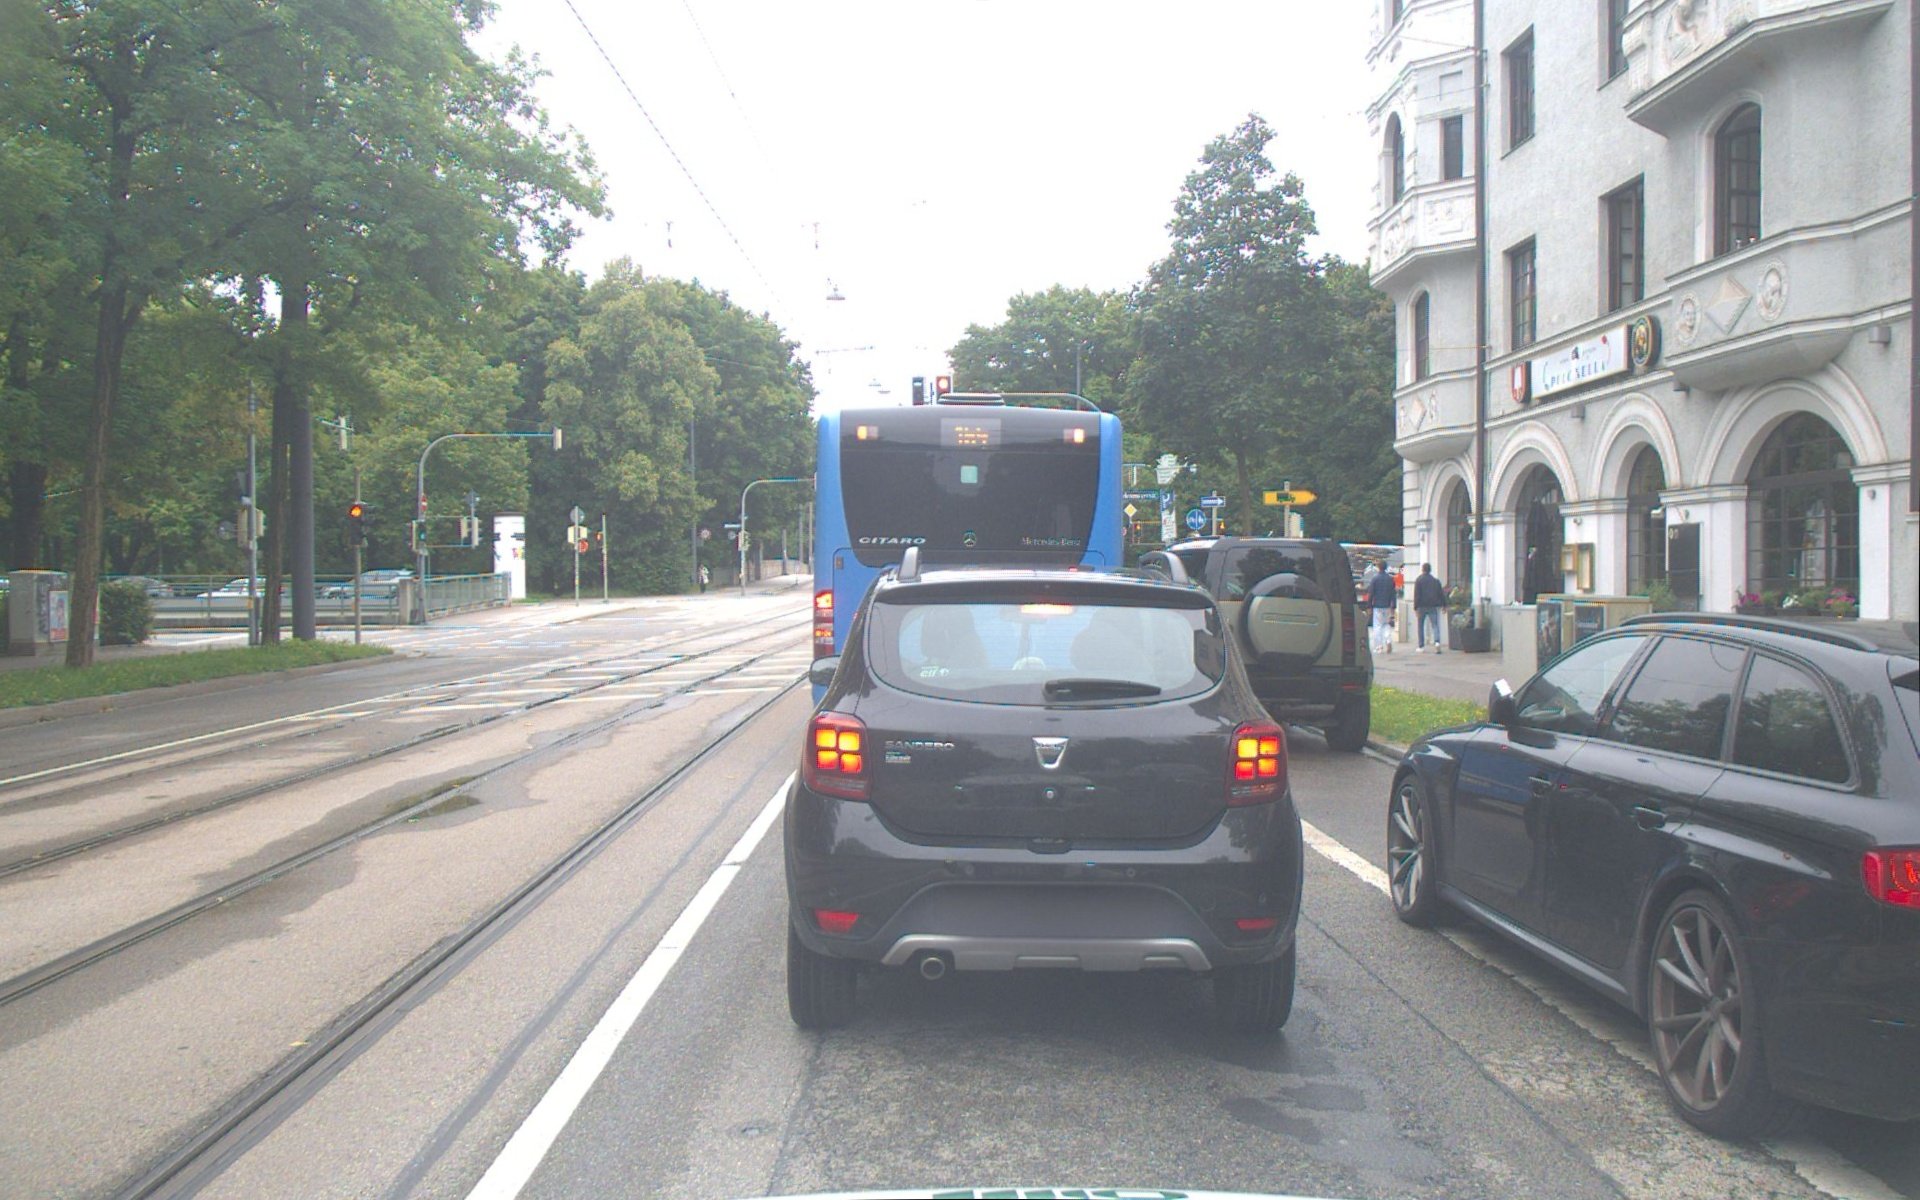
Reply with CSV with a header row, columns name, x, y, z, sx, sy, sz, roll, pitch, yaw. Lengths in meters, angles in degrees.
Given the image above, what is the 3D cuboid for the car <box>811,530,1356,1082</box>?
name,x,y,z,sx,sy,sz,roll,pitch,yaw
car,0.325,0.597,6.605,1.568,1.584,3.524,1,0,-1

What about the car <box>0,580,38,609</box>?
name,x,y,z,sx,sy,sz,roll,pitch,yaw
car,-41.989,-0.253,71.361,3.656,1.206,1.249,1,0,-6

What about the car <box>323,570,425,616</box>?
name,x,y,z,sx,sy,sz,roll,pitch,yaw
car,-25.743,-0.312,72.774,3.946,1.920,1.488,1,0,-8

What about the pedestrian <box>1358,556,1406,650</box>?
name,x,y,z,sx,sy,sz,roll,pitch,yaw
pedestrian,8.498,0.061,33.314,0.690,1.848,0.869,1,0,-1

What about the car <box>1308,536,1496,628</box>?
name,x,y,z,sx,sy,sz,roll,pitch,yaw
car,13.726,-0.547,51.554,5.191,2.658,2.229,1,0,-4

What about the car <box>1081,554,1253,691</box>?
name,x,y,z,sx,sy,sz,roll,pitch,yaw
car,2.669,0.256,22.216,1.679,1.619,4.326,1,0,-1

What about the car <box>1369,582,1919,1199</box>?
name,x,y,z,sx,sy,sz,roll,pitch,yaw
car,2.927,0.692,5.887,1.681,1.451,4.601,1,0,-1

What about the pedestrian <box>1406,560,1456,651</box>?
name,x,y,z,sx,sy,sz,roll,pitch,yaw
pedestrian,9.332,0.102,32.792,0.690,1.762,0.843,1,0,-1

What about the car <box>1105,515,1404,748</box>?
name,x,y,z,sx,sy,sz,roll,pitch,yaw
car,2.724,0.255,16.491,1.876,1.939,4.805,1,0,-3

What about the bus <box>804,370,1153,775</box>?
name,x,y,z,sx,sy,sz,roll,pitch,yaw
bus,-0.007,-0.225,16.197,2.625,3.050,6.957,1,0,-3

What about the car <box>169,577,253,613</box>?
name,x,y,z,sx,sy,sz,roll,pitch,yaw
car,-32.601,-0.200,72.046,3.050,1.477,1.249,1,0,-6

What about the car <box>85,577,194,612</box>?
name,x,y,z,sx,sy,sz,roll,pitch,yaw
car,-35.628,-0.242,71.877,3.848,1.429,1.719,1,0,-5

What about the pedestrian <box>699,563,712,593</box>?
name,x,y,z,sx,sy,sz,roll,pitch,yaw
pedestrian,-13.271,-1.154,86.220,0.520,1.527,0.588,1,0,4

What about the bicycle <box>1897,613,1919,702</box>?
name,x,y,z,sx,sy,sz,roll,pitch,yaw
bicycle,10.455,0.621,17.780,0.254,0.947,0.886,1,0,0
